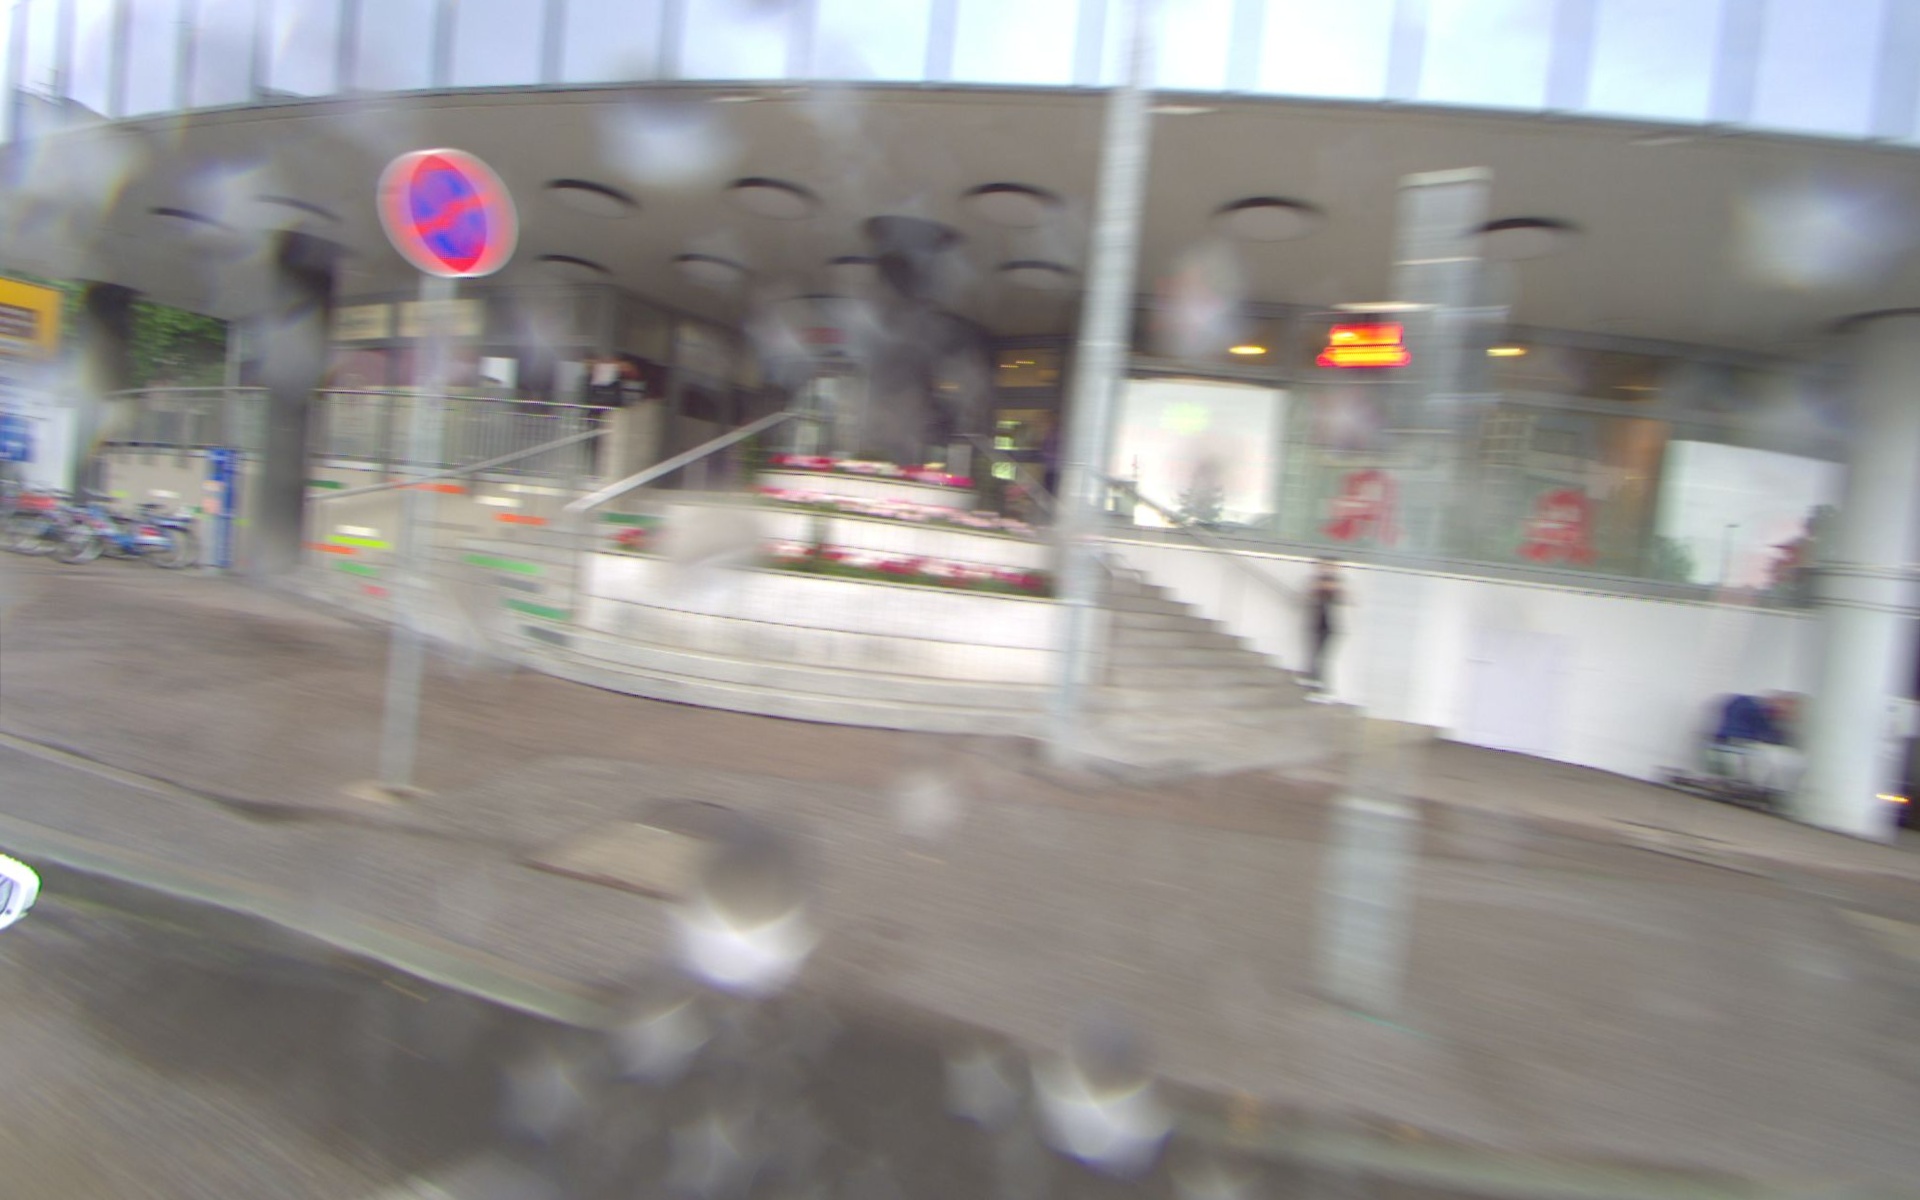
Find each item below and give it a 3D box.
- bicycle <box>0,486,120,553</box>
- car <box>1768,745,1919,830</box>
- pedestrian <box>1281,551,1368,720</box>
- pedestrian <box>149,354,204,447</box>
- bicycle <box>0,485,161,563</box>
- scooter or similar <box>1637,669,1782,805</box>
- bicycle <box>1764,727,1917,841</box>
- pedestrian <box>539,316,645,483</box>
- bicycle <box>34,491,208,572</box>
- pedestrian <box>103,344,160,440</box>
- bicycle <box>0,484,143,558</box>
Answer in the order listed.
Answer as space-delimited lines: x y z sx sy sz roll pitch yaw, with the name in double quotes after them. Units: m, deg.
-14.869 -1.312 16.304 0.528 0.965 1.845 9 5 37 "bicycle"
20.538 4.297 23.539 1.867 1.485 4.024 7 -3 32 "car"
4.401 0.416 12.181 0.645 1.933 0.594 7 2 8 "pedestrian"
-15.930 -4.044 20.445 0.591 1.736 0.651 10 3 39 "pedestrian"
-13.632 -1.154 15.586 0.637 1.057 1.847 7 4 34 "bicycle"
8.889 1.615 11.955 1.148 1.391 0.488 8 3 1 "scooter or similar"
10.547 2.202 12.053 1.565 1.030 0.450 12 1 -15 "bicycle"
-5.074 -2.716 13.869 0.945 2.040 0.822 5 3 -41 "pedestrian"
-12.234 -0.980 14.729 0.622 1.037 1.847 7 3 34 "bicycle"
-16.429 -4.103 19.946 0.591 1.736 0.651 10 3 39 "pedestrian"
-14.249 -1.244 15.999 0.619 1.048 1.847 7 4 34 "bicycle"
